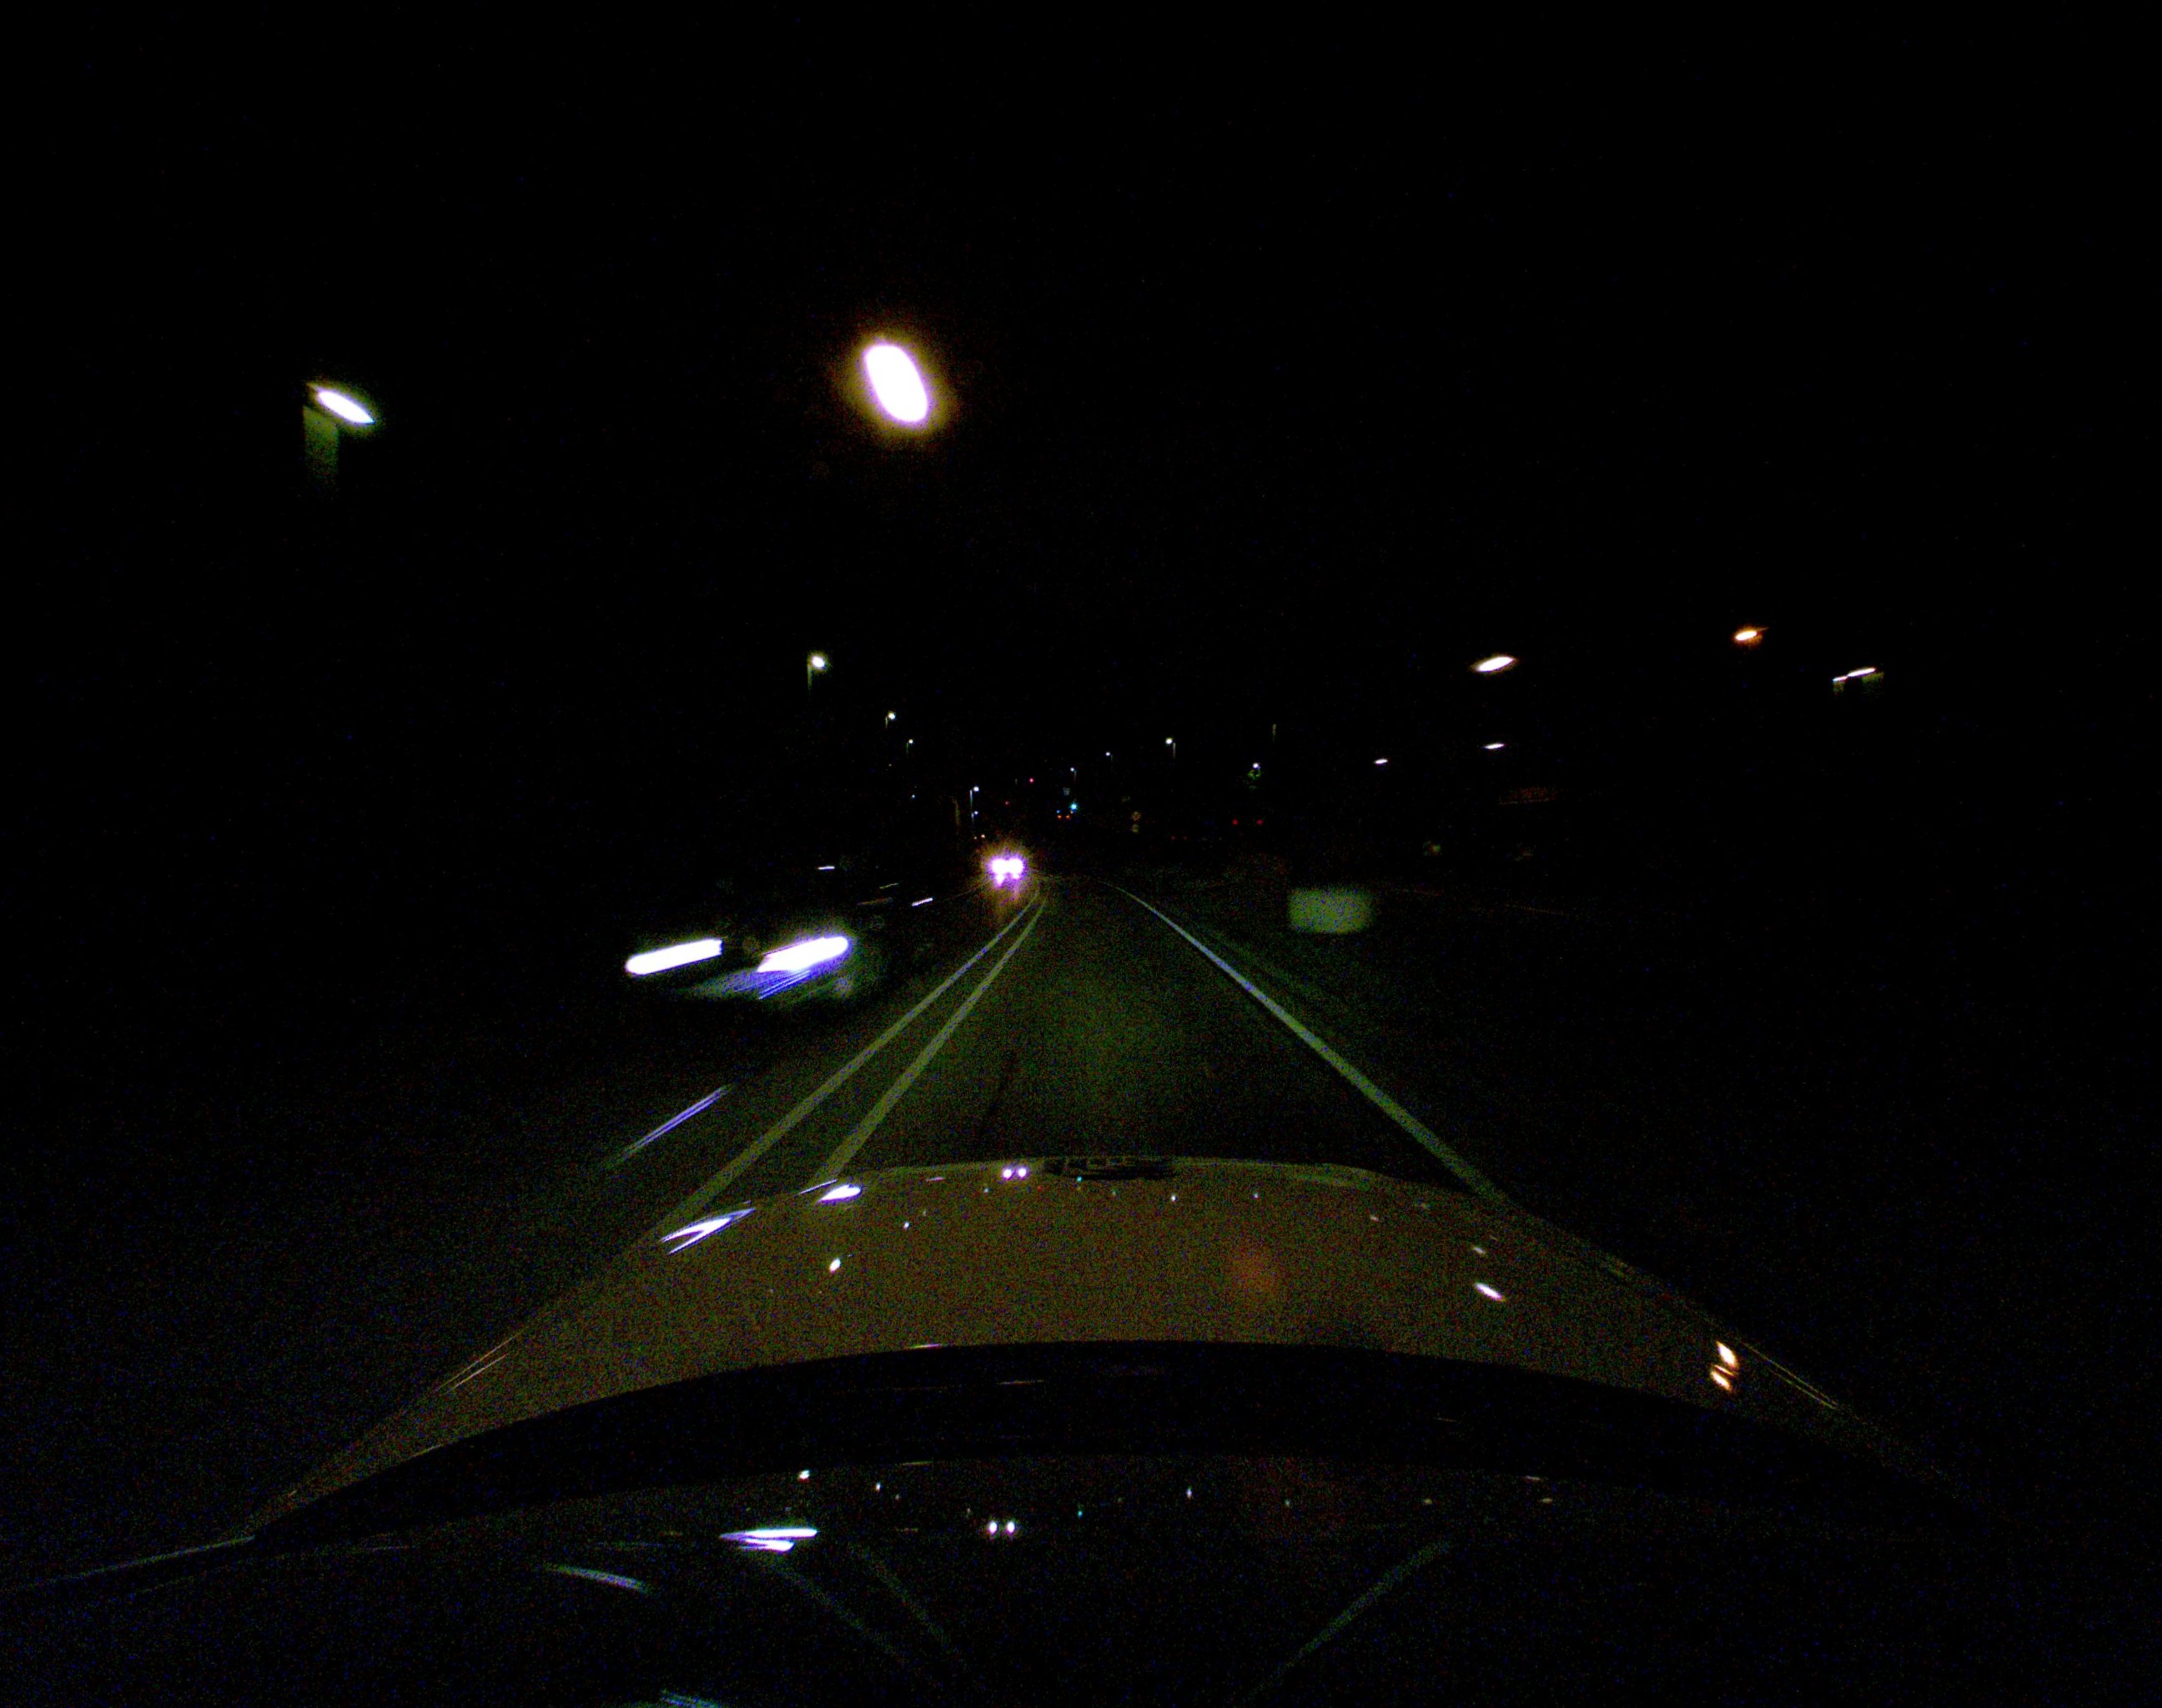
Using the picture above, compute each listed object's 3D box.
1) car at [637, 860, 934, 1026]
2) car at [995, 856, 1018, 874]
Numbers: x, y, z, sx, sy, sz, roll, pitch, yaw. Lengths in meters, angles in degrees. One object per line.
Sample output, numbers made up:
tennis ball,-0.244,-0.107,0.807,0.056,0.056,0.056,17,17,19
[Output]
car,-2.984,0.820,9.276,1.782,1.447,4.172,0,-1,1
car,-6.353,0.917,69.577,1.855,1.510,3.994,-1,0,-4
